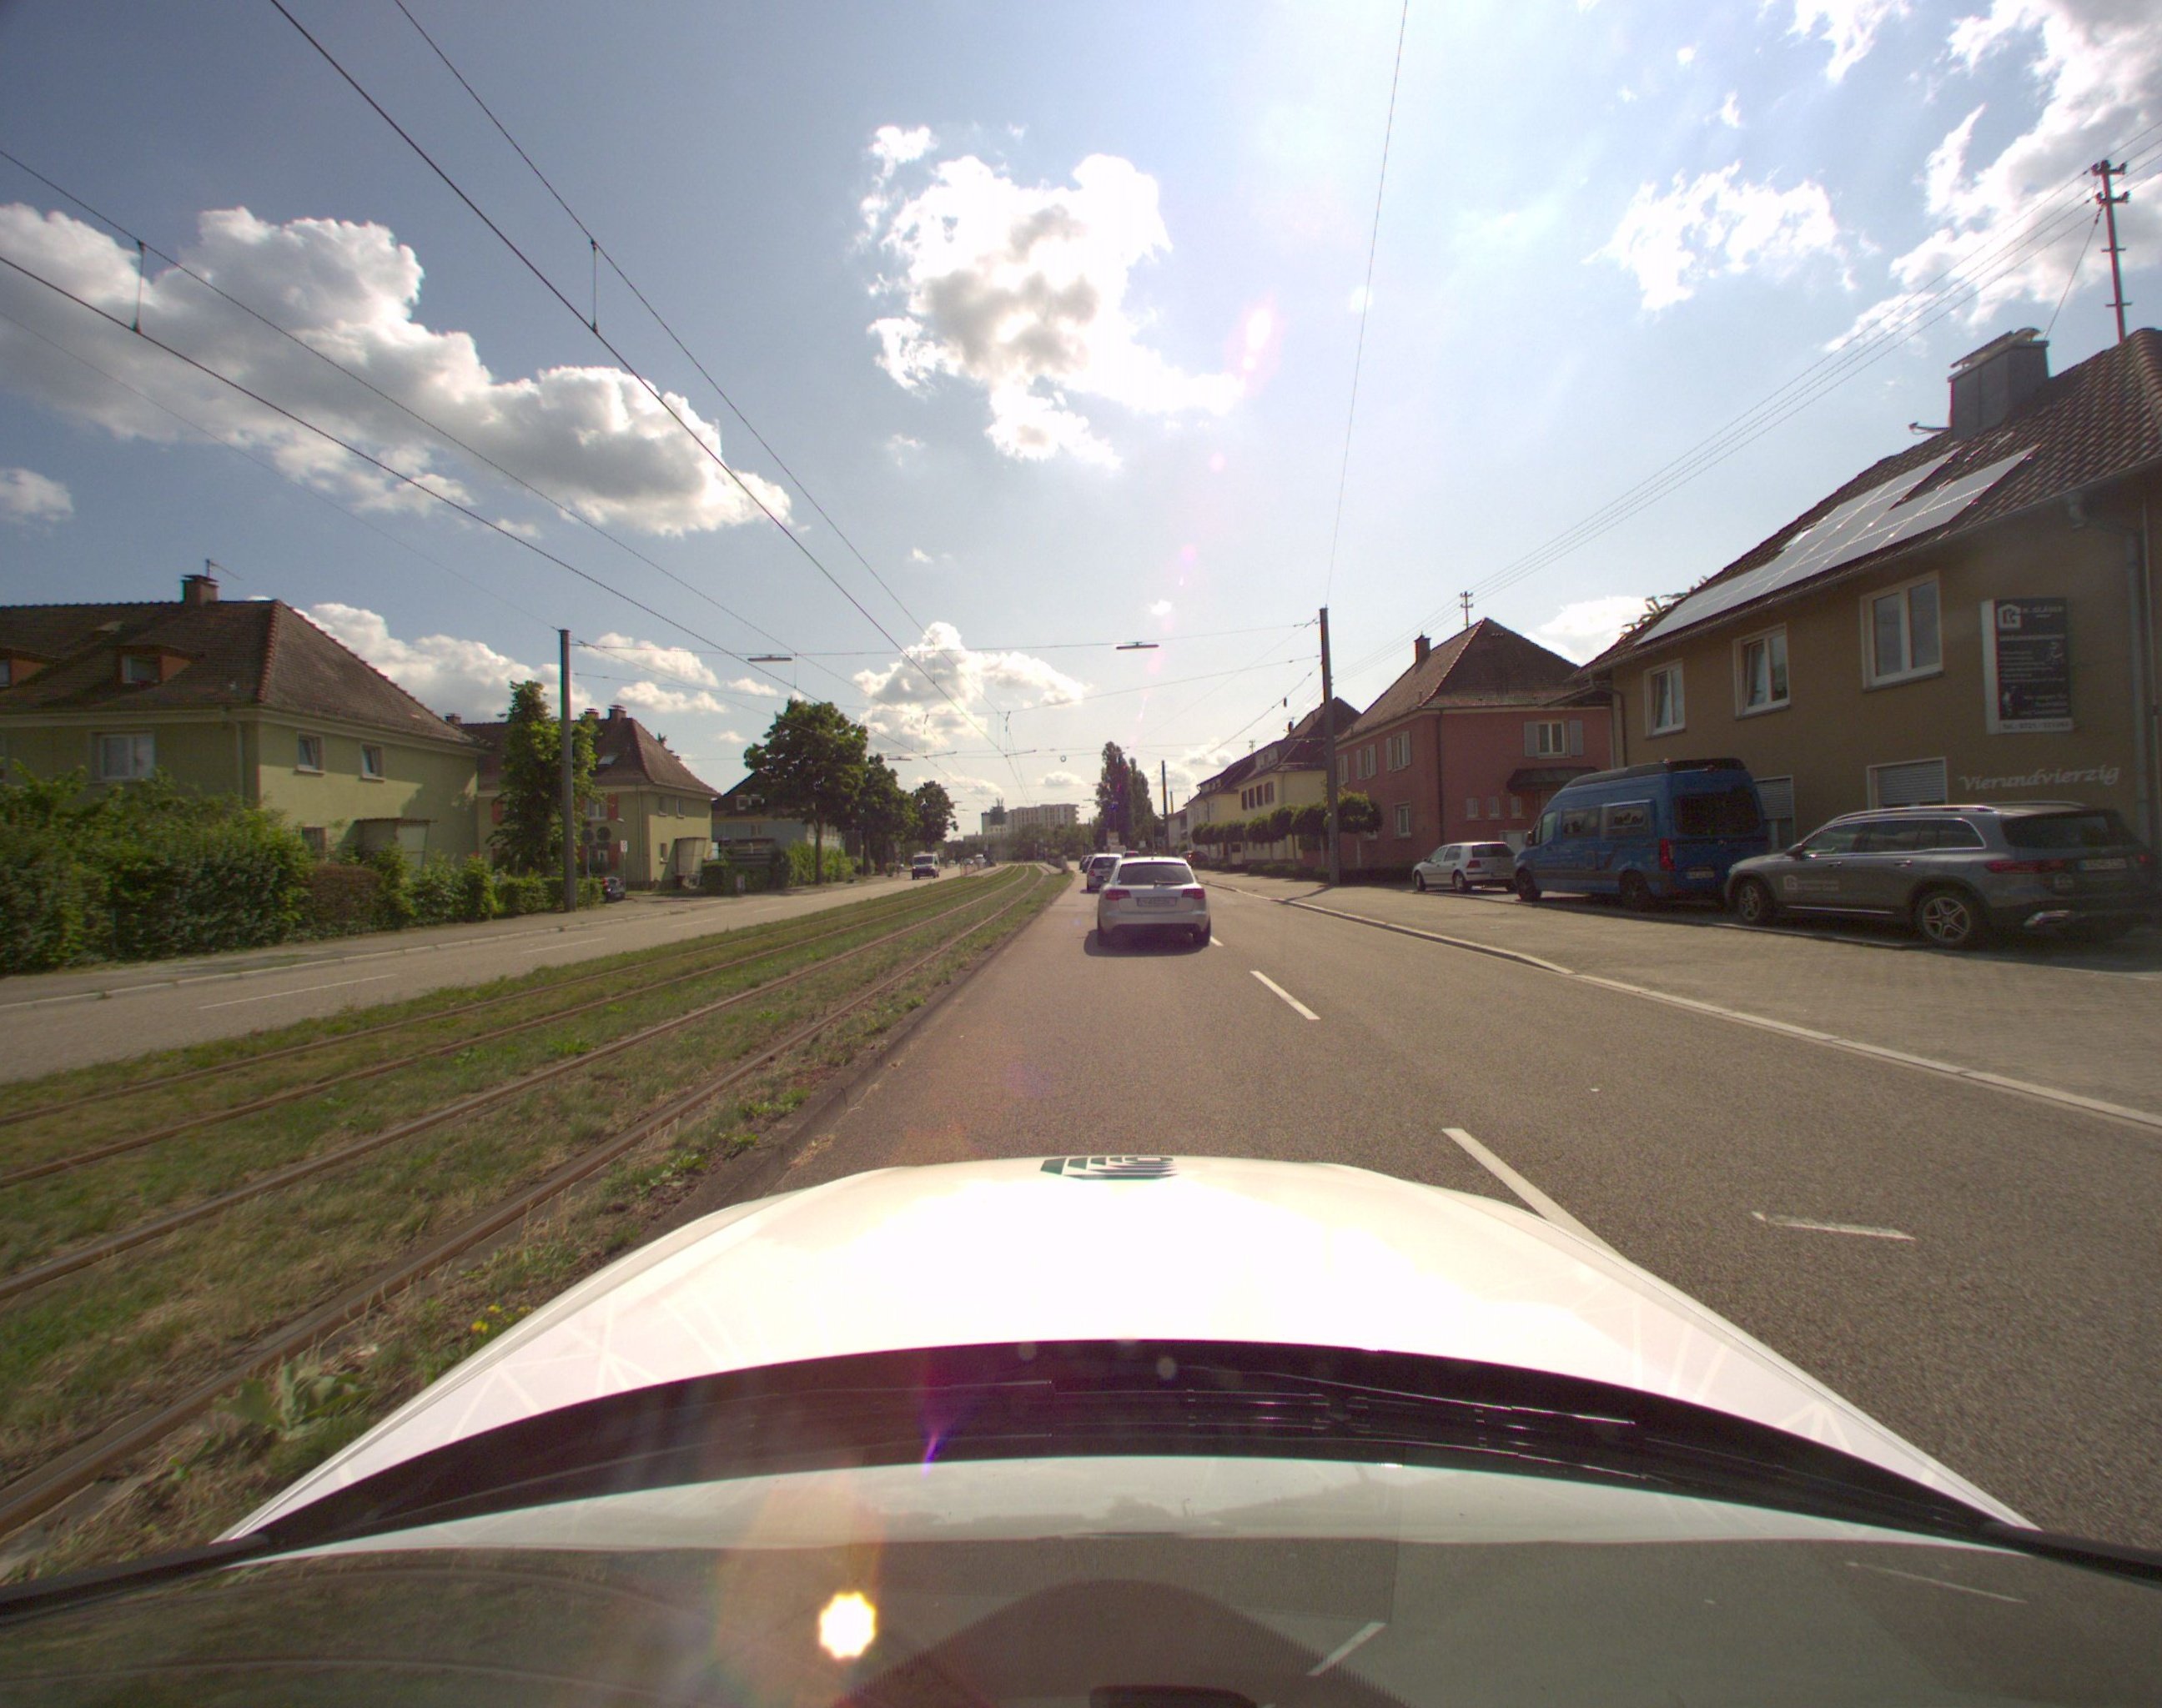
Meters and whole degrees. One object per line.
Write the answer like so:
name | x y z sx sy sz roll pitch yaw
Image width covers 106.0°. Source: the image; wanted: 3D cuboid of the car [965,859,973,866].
car | -26.729 1.927 194.528 1.861 1.651 3.989 -1 -1 -8

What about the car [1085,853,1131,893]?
car | 1.086 0.744 34.411 1.782 1.577 4.093 0 0 -1

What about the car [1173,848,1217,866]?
car | 10.801 0.321 77.018 4.117 1.458 1.892 -4 2 -44

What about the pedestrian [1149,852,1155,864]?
pedestrian | 11.000 0.621 126.487 0.719 1.782 0.702 -5 0 -2

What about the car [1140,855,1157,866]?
car | 9.599 0.934 115.775 1.881 1.637 4.088 -1 -1 -4

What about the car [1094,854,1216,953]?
car | 1.314 0.764 14.879 1.846 1.492 4.541 -1 0 4

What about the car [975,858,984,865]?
car | -23.350 1.789 187.484 1.895 1.541 3.719 -1 -1 -7

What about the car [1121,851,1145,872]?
car | 4.656 0.609 72.478 1.876 1.731 4.101 -2 0 6

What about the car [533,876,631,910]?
car | -25.597 1.980 41.868 3.732 1.467 1.892 -3 0 -3

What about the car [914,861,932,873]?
car | -21.285 1.751 109.824 1.782 1.584 3.928 -2 0 -2

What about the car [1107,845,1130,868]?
car | 4.286 0.269 93.716 2.037 2.557 5.223 -2 0 -4

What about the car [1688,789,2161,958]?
car | 11.071 0.190 11.166 1.830 1.711 4.865 -4 0 1

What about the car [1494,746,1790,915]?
car | 11.419 -0.389 17.415 2.143 2.930 6.247 -1 -1 2

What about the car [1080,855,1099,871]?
car | 0.908 0.931 83.700 1.878 1.530 4.096 -1 -1 2

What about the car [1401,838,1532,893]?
car | 11.343 0.339 24.311 1.645 1.409 4.346 -3 0 -3

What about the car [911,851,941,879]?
car | -13.911 0.989 73.426 2.194 2.372 5.319 -3 0 -7
